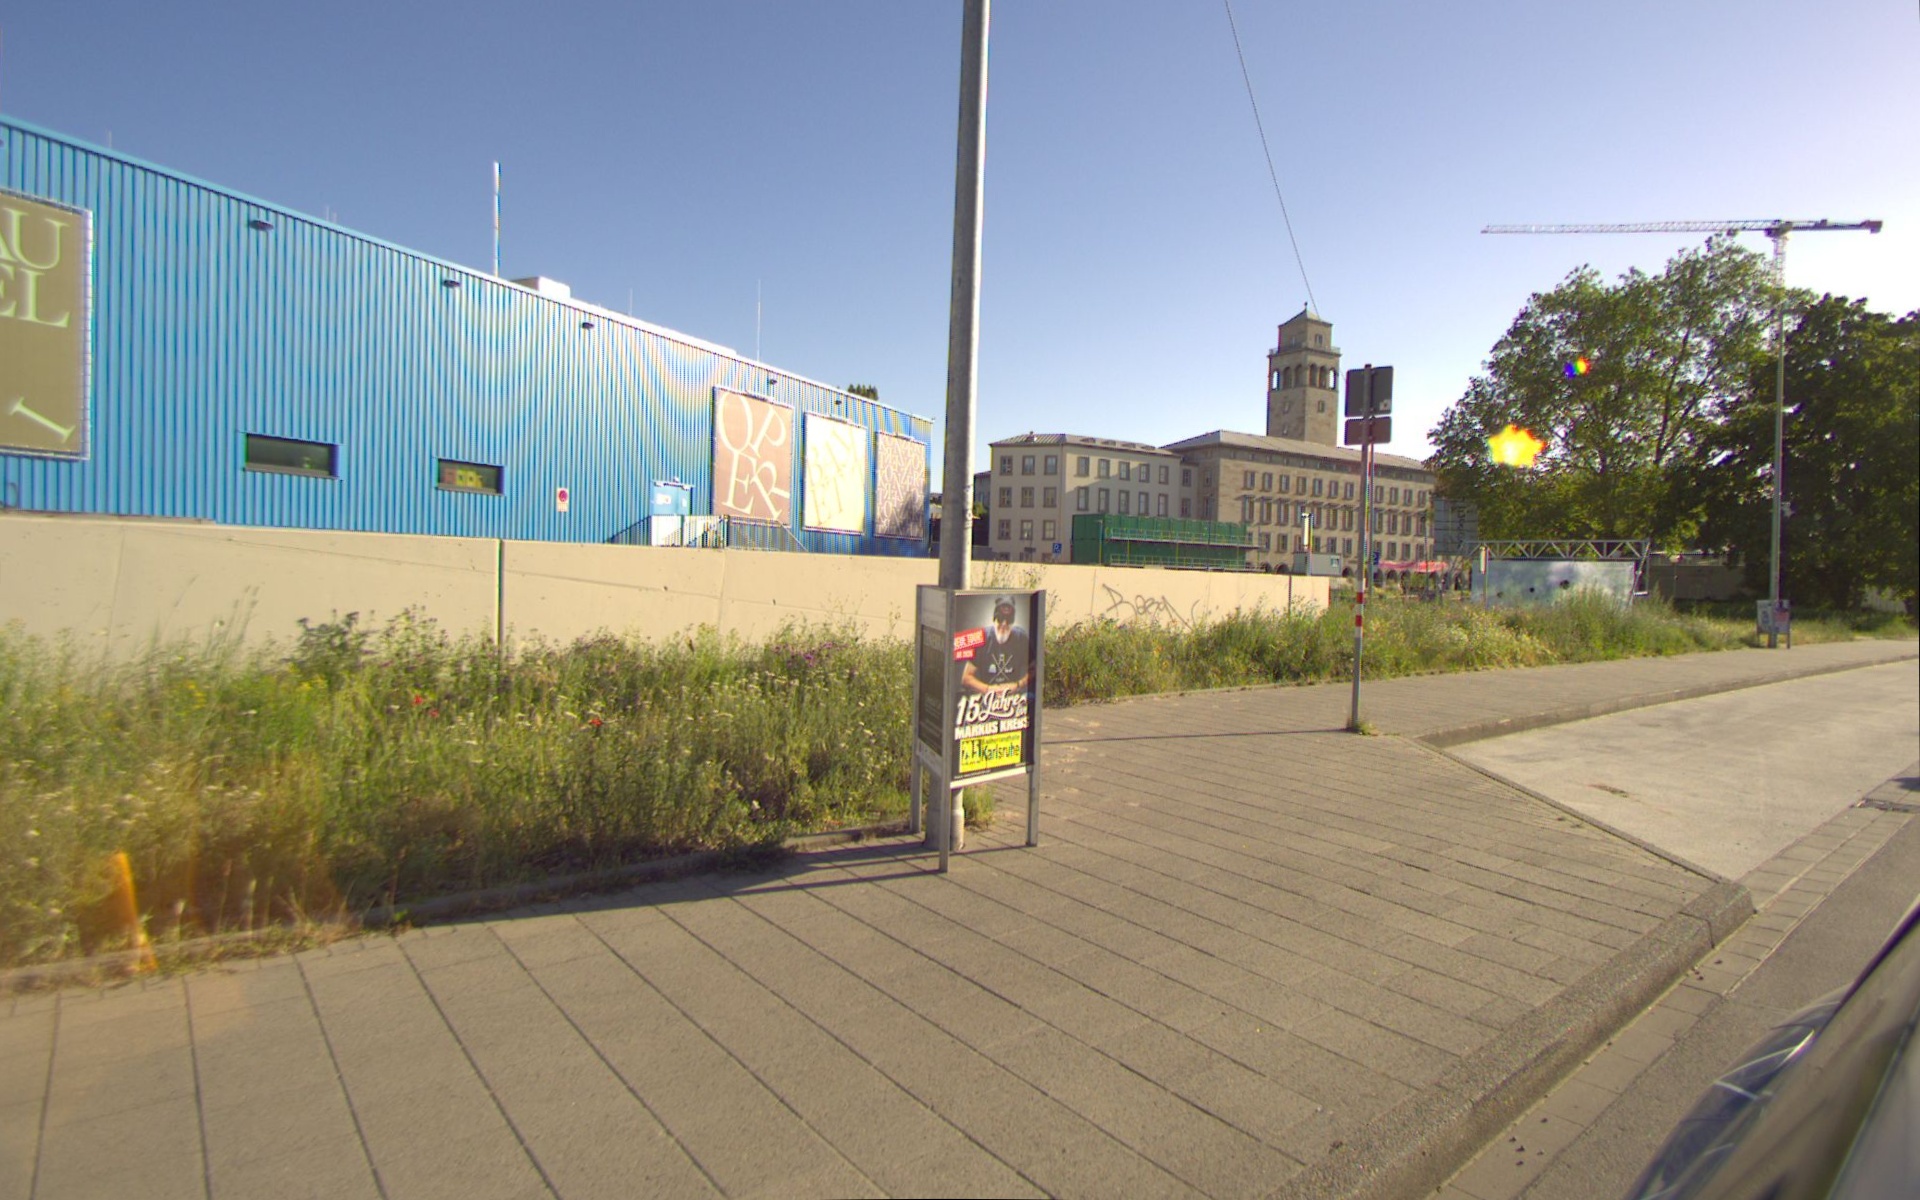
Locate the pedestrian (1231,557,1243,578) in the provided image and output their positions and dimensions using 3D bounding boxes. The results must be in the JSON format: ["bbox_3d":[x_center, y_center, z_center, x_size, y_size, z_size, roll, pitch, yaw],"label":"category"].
[{"bbox_3d":[17.471,-2.022,63.849,0.432,1.312,0.574,-1,0,-18],"label":"pedestrian"}]
